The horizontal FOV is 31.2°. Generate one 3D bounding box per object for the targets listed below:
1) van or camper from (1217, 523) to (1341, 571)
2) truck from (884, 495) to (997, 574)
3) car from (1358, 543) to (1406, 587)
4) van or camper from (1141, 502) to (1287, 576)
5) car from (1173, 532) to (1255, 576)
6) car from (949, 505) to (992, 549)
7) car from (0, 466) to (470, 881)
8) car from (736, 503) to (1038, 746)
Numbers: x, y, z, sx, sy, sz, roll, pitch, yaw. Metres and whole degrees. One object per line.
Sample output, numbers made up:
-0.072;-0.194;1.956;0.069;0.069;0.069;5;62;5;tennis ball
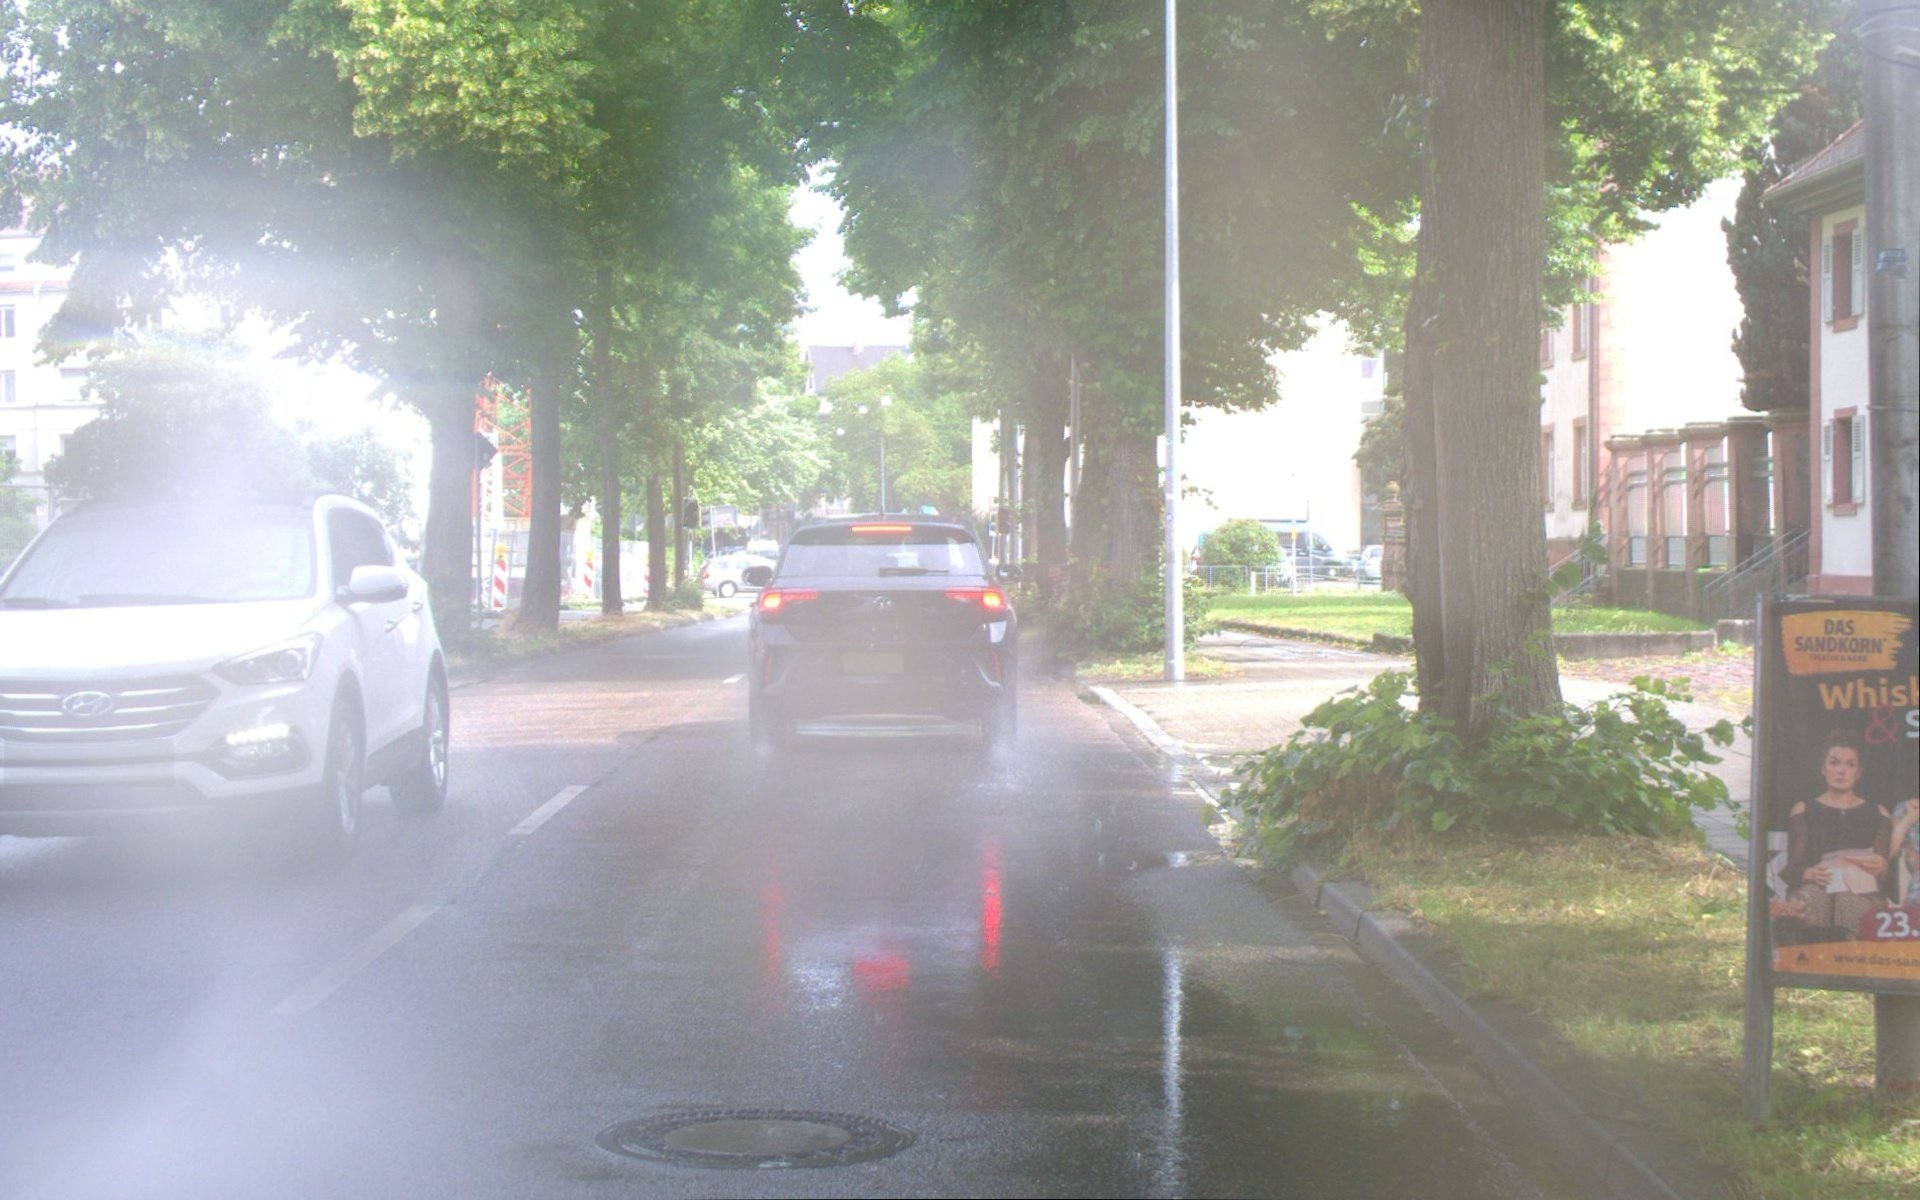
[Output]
13.089;-2.185;141.370;4.874;1.919;2.131;1;2;0;van or camper
-0.758;-2.338;120.581;2.804;2.647;8.243;0;2;-8;truck
16.831;-1.411;137.367;1.743;1.678;3.869;-3;1;6;car
9.145;-2.188;123.902;5.032;2.587;2.168;-1;1;-1;van or camper
11.289;-2.031;152.673;3.408;1.775;1.759;-3;1;9;car
0.539;-3.591;169.514;1.993;2.007;3.999;-1;-1;2;car
-3.588;0.260;16.371;1.886;1.707;4.230;-1;1;0;car
-0.541;0.121;23.736;1.894;1.517;4.001;0;1;-2;car
